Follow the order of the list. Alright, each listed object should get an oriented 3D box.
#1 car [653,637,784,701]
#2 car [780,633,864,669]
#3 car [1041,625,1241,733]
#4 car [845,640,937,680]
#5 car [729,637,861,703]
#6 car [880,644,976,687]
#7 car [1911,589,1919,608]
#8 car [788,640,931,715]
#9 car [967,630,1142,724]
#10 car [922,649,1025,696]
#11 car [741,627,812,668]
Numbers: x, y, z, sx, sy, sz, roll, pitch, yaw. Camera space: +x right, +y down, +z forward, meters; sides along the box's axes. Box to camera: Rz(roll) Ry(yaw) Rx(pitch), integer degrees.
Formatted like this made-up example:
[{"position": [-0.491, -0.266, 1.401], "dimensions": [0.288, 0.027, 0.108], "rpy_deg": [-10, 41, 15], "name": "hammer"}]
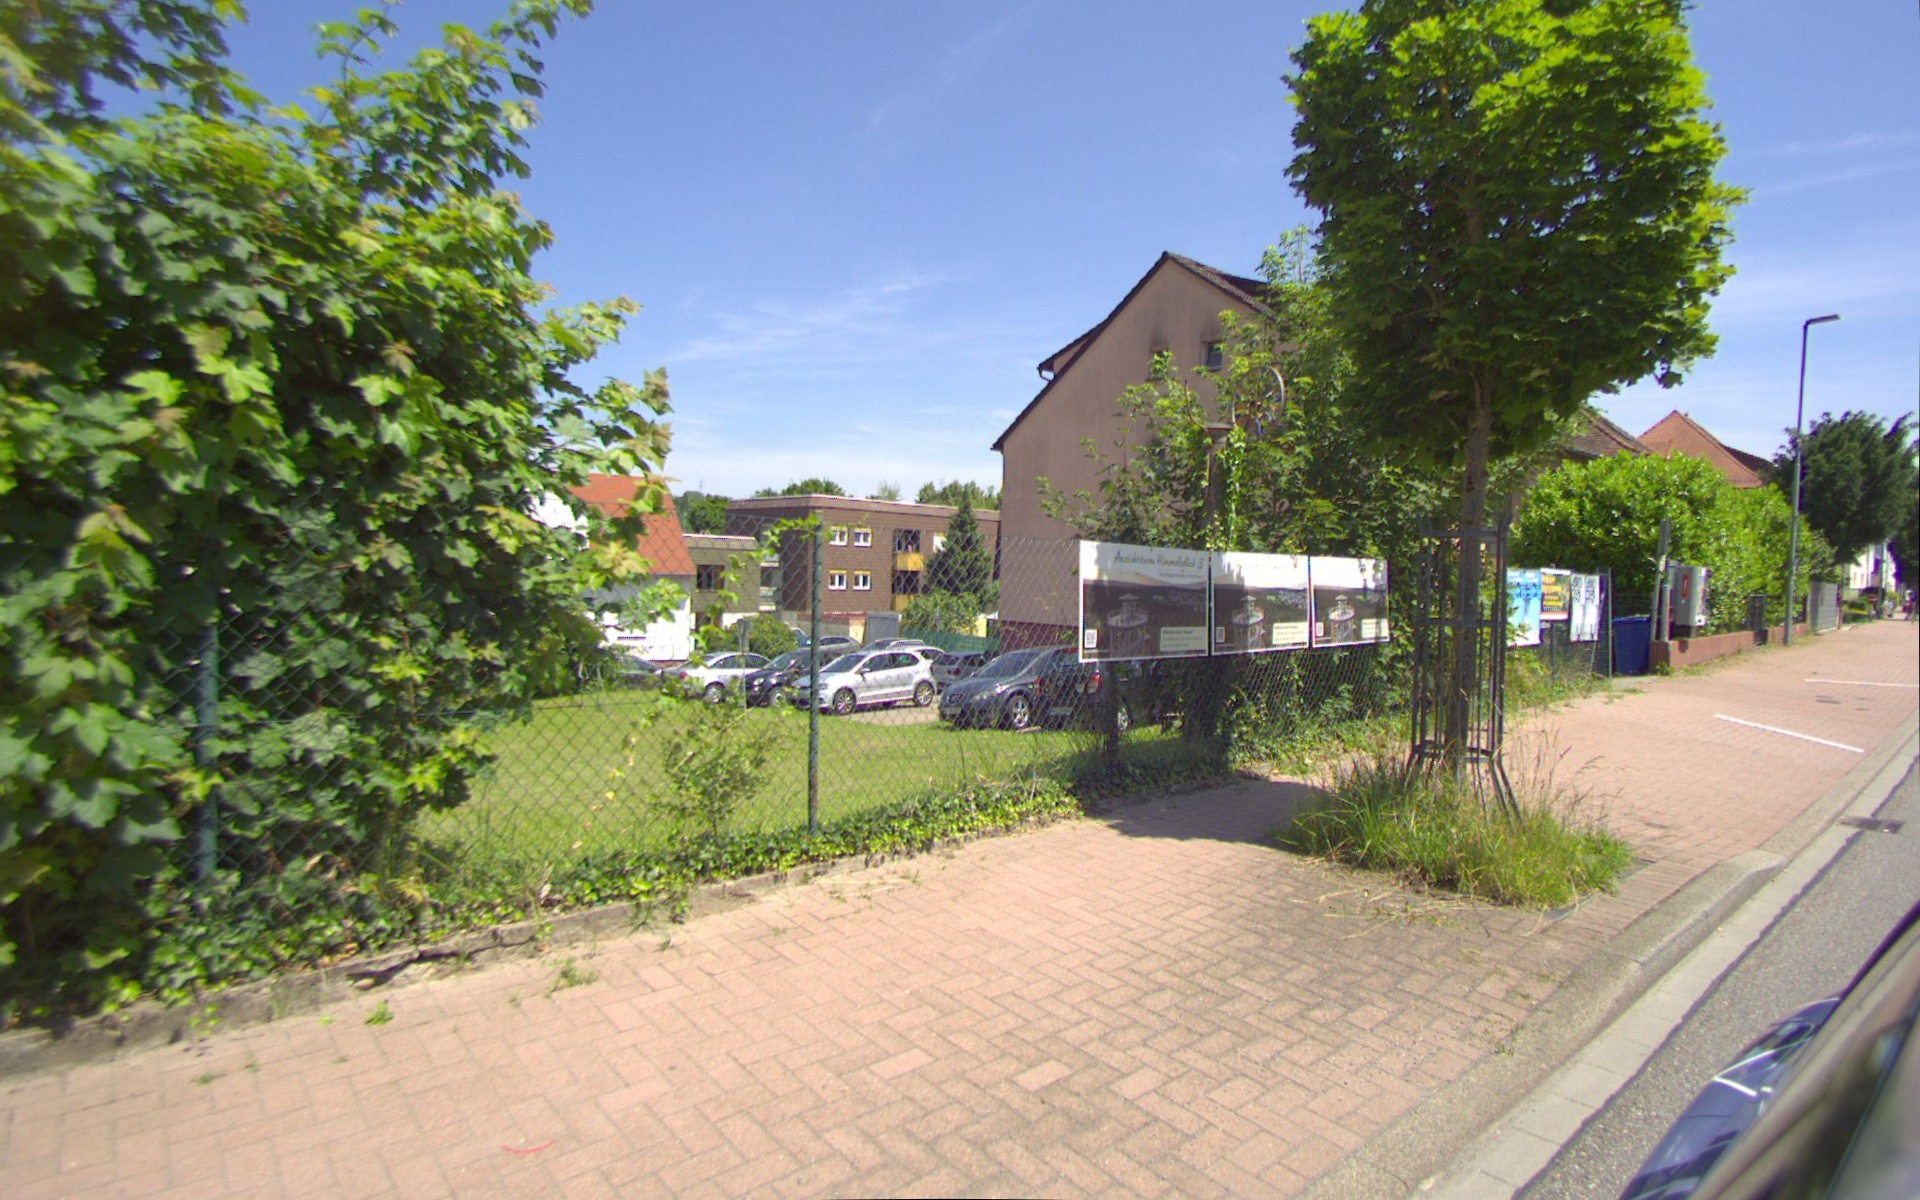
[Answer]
[{"position": [-6.804, 1.943, 28.716], "dimensions": [3.325, 1.492, 1.324], "rpy_deg": [-3, -3, -42], "name": "car"}, {"position": [-6.279, 2.292, 46.089], "dimensions": [3.470, 1.459, 1.551], "rpy_deg": [-1, 0, -38], "name": "car"}, {"position": [3.246, 1.356, 17.843], "dimensions": [3.511, 1.492, 1.493], "rpy_deg": [-3, -5, -42], "name": "car"}, {"position": [-2.890, 2.493, 42.644], "dimensions": [3.470, 1.459, 1.747], "rpy_deg": [-1, 0, -38], "name": "car"}, {"position": [-4.396, 1.865, 27.223], "dimensions": [3.236, 1.492, 1.324], "rpy_deg": [-3, -3, -42], "name": "car"}, {"position": [-1.276, 2.608, 40.887], "dimensions": [3.468, 1.459, 1.748], "rpy_deg": [-1, 0, -36], "name": "car"}, {"position": [83.415, -0.144, 87.456], "dimensions": [1.634, 1.600, 3.512], "rpy_deg": [5, 4, 45], "name": "car"}, {"position": [-2.398, 1.858, 24.537], "dimensions": [3.236, 1.492, 1.324], "rpy_deg": [-3, -3, -42], "name": "car"}, {"position": [1.891, 1.478, 20.016], "dimensions": [3.229, 1.492, 1.327], "rpy_deg": [-4, -2, -33], "name": "car"}, {"position": [0.501, 2.650, 37.521], "dimensions": [3.468, 1.459, 1.748], "rpy_deg": [-1, 0, -36], "name": "car"}, {"position": [-8.940, 2.285, 49.113], "dimensions": [1.685, 1.852, 3.994], "rpy_deg": [0, -2, -39], "name": "car"}]
